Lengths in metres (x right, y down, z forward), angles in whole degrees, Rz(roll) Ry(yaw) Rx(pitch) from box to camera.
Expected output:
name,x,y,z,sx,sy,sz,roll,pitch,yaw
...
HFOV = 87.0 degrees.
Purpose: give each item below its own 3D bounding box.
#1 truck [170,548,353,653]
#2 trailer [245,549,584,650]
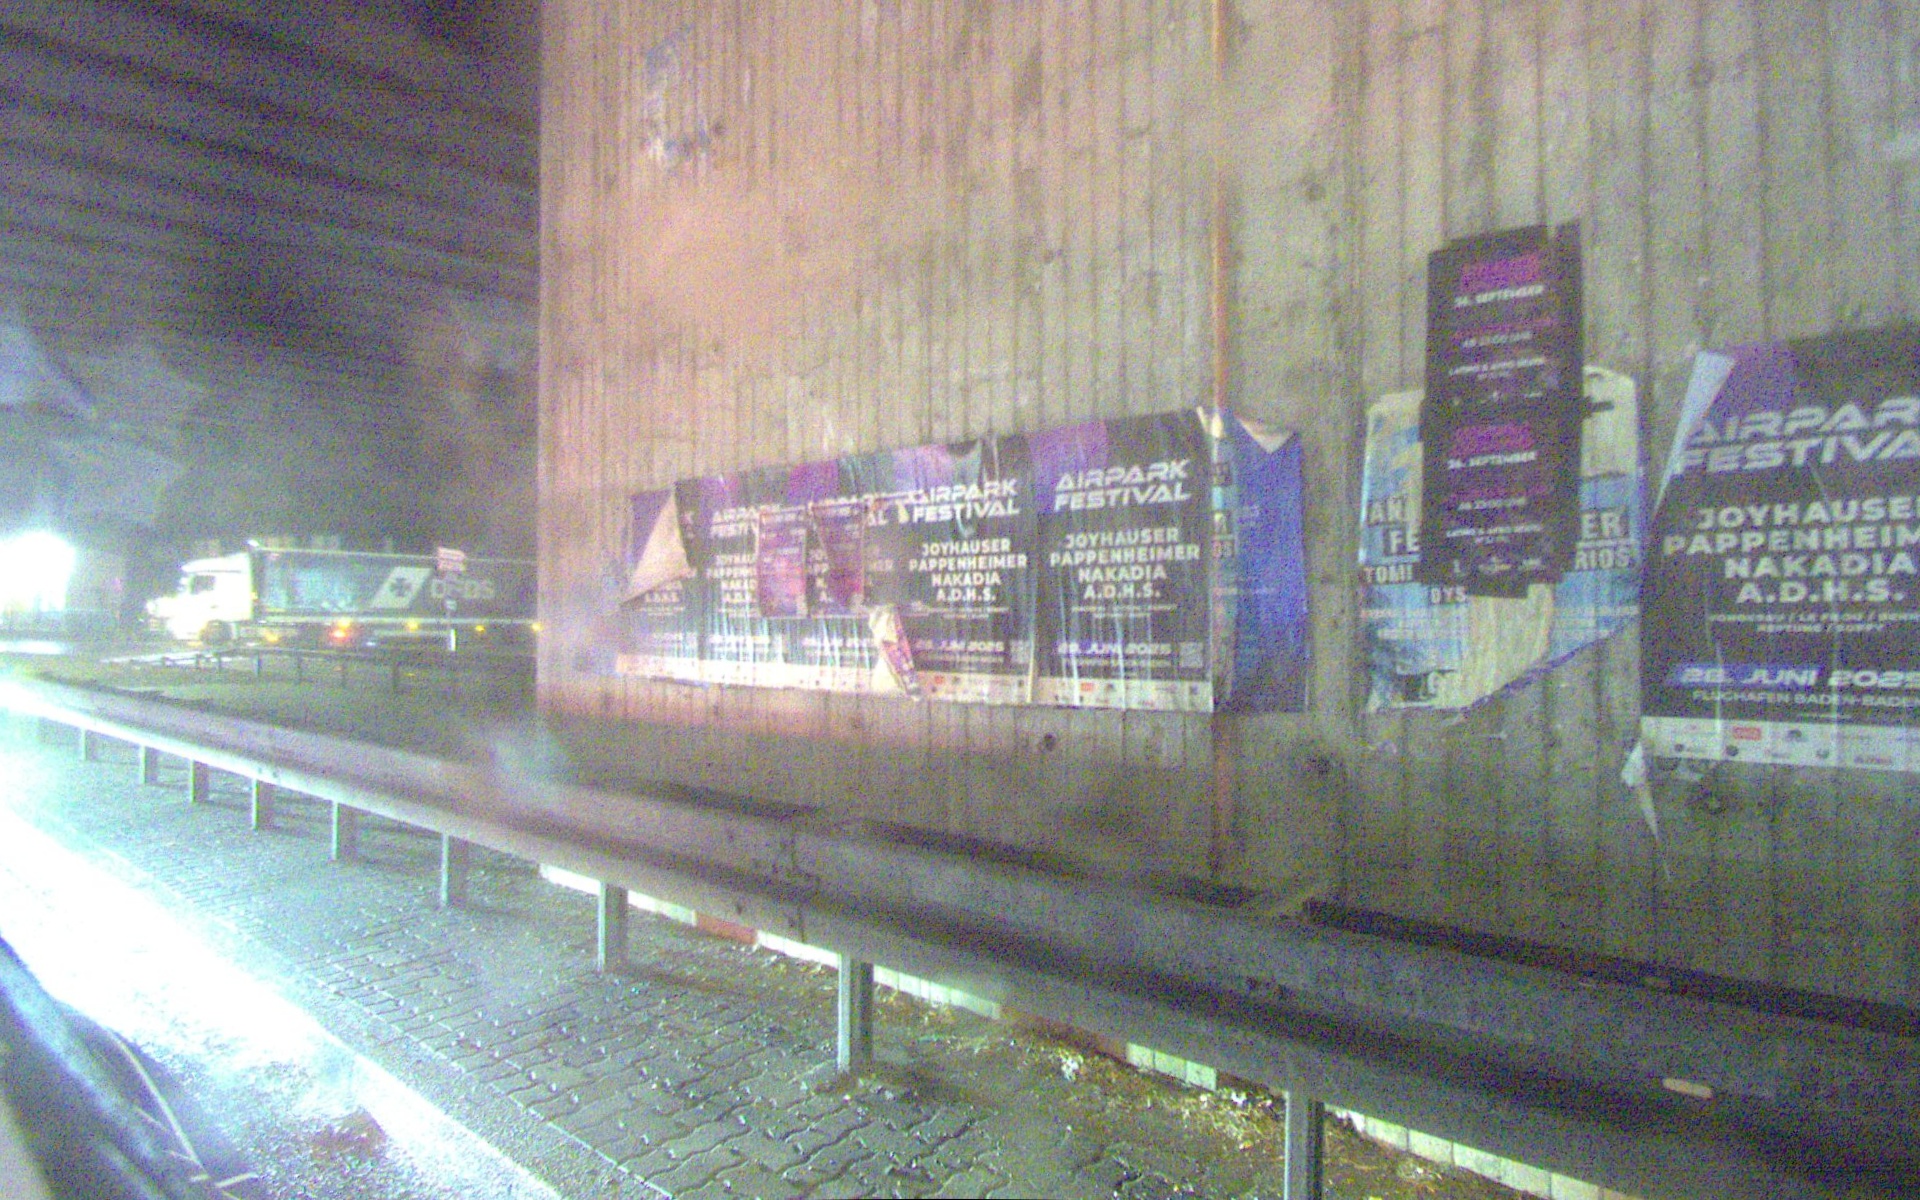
name,x,y,z,sx,sy,sz,roll,pitch,yaw
truck,-30.345,0.004,44.141,6.272,4.208,3.979,-1,0,-36
trailer,-25.550,-0.065,48.300,13.704,4.208,3.975,-1,0,-41
